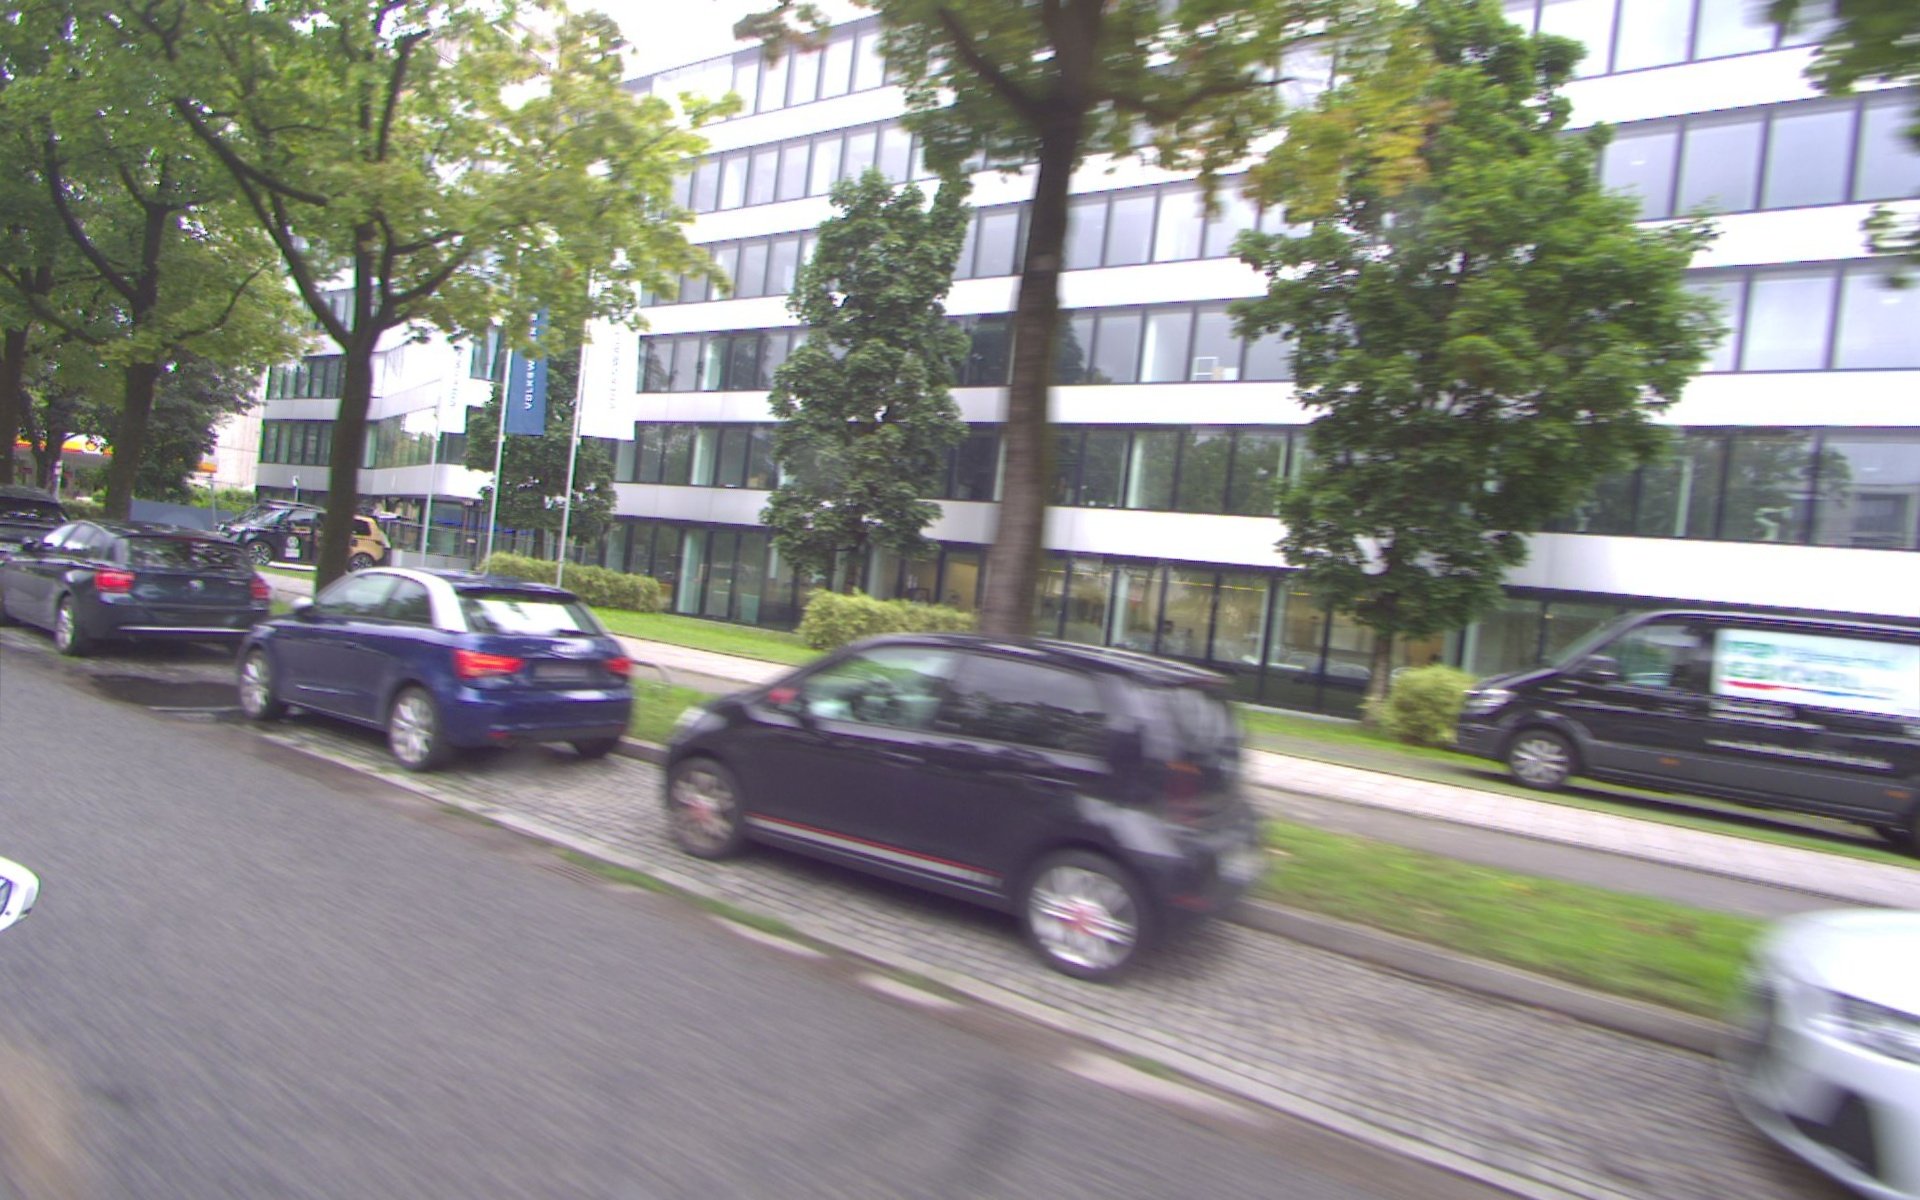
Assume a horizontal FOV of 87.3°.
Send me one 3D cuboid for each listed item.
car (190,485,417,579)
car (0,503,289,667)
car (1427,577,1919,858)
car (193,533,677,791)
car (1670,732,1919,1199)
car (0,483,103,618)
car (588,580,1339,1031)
[{"bbox_3d":[-20.343,-2.038,31.480,2.111,2.109,5.477,7,0,31],"label":"car"},{"bbox_3d":[-9.848,-0.238,11.813,4.441,1.426,1.702,7,1,35],"label":"car"},{"bbox_3d":[8.897,1.276,11.394,6.162,2.336,2.267,7,1,30],"label":"car"},{"bbox_3d":[-4.482,0.385,8.409,4.053,1.439,1.703,7,1,32],"label":"car"},{"bbox_3d":[4.610,1.462,2.717,4.163,1.415,1.703,7,1,32],"label":"car"},{"bbox_3d":[-14.370,-0.890,14.501,4.722,1.697,1.813,7,1,34],"label":"car"},{"bbox_3d":[-0.107,0.858,5.805,3.913,1.465,1.703,7,1,32],"label":"car"}]
